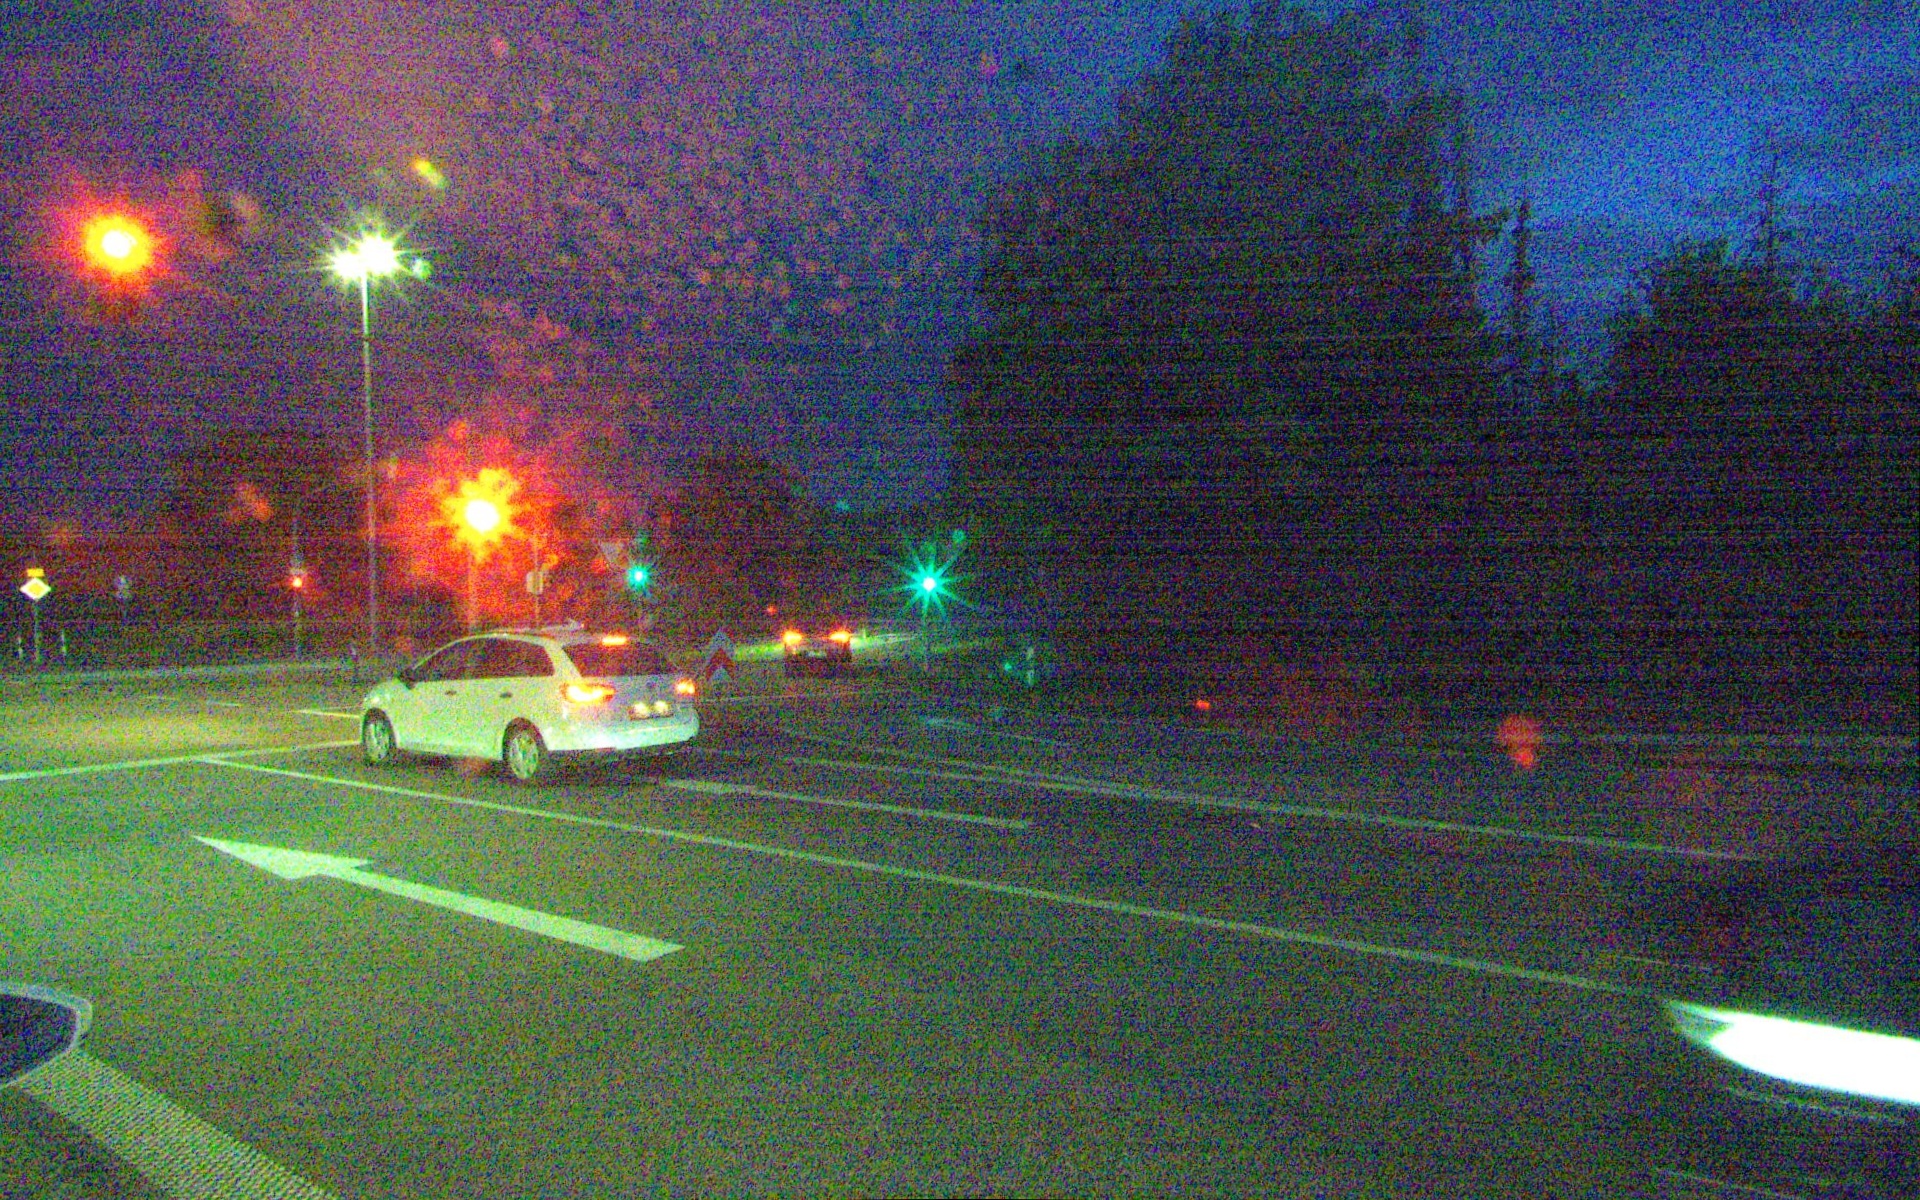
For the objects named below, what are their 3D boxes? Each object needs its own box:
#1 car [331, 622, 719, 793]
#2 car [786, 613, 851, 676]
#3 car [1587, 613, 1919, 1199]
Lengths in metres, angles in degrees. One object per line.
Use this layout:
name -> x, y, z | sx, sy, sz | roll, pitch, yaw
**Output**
car -> -4.589, 0.977, 10.423 | 4.056, 1.462, 1.617 | -1, 0, 30
car -> -4.026, 1.211, 28.477 | 1.707, 1.594, 4.057 | 1, 0, -8
car -> 3.609, 0.756, 1.399 | 4.462, 1.462, 1.790 | -1, -2, 27
